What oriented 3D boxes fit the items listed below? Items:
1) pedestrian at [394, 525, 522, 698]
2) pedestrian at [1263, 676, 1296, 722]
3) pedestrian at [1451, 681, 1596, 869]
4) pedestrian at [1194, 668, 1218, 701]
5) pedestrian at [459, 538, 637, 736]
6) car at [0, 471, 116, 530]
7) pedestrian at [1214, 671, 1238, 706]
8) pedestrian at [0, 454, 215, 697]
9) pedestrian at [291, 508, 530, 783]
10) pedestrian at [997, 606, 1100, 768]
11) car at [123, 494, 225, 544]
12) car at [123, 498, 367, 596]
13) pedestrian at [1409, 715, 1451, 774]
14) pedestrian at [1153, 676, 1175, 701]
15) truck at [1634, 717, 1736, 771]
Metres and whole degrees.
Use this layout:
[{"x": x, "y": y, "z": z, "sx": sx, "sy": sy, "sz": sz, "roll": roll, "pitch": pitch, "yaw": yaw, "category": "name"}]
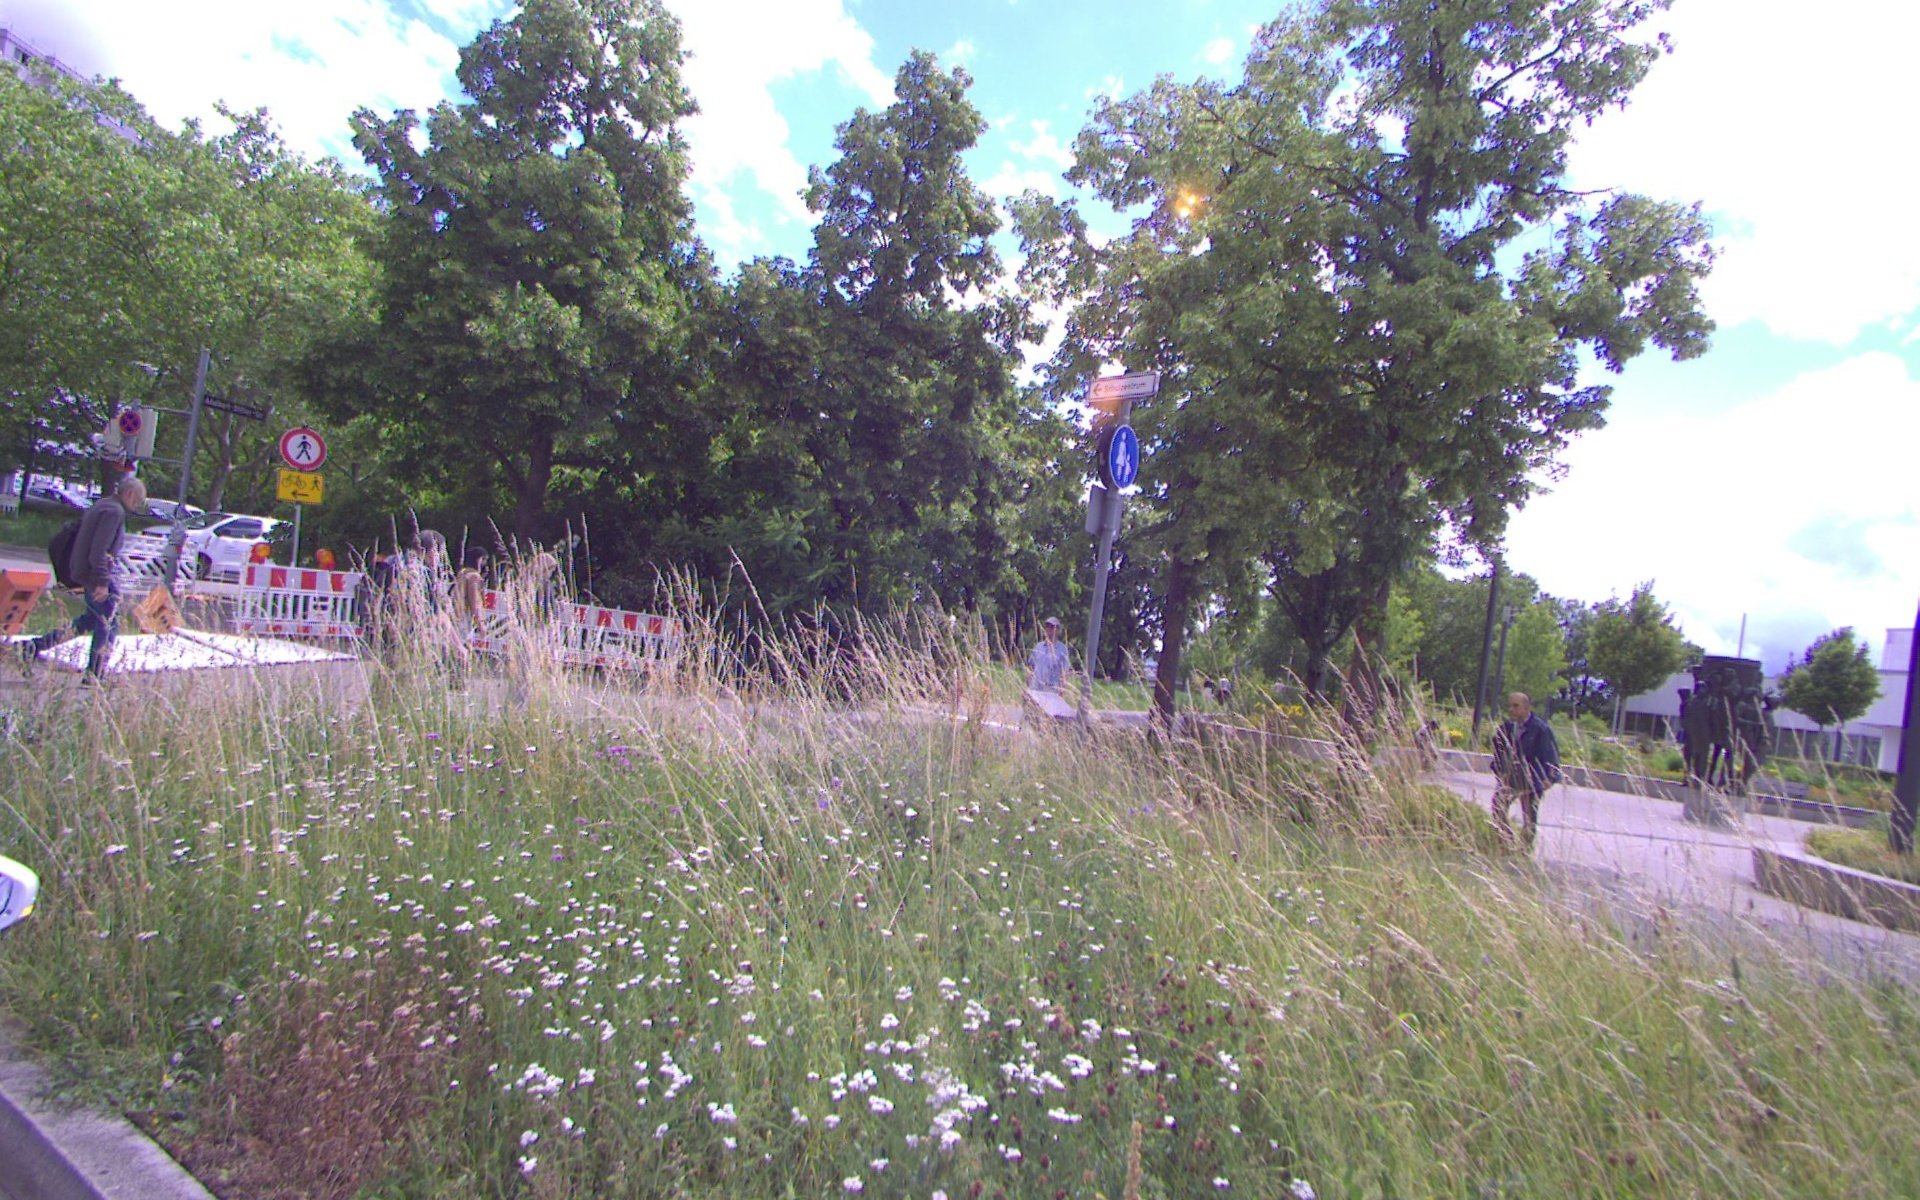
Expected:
[{"x": -5.545, "y": 0.136, "z": 11.129, "sx": 0.815, "sy": 1.763, "sz": 0.782, "roll": 7, "pitch": 0, "yaw": 34, "category": "pedestrian"}, {"x": 15.318, "y": 4.759, "z": 48.257, "sx": 1.137, "sy": 2.037, "sz": 0.817, "roll": 8, "pitch": 0, "yaw": 30, "category": "pedestrian"}, {"x": 5.452, "y": 1.681, "z": 9.755, "sx": 0.756, "sy": 1.644, "sz": 0.767, "roll": 8, "pitch": -1, "yaw": -28, "category": "pedestrian"}, {"x": 13.475, "y": 4.604, "z": 55.010, "sx": 0.872, "sy": 1.681, "sz": 0.817, "roll": 8, "pitch": -1, "yaw": 30, "category": "pedestrian"}, {"x": -3.817, "y": 0.353, "z": 9.346, "sx": 0.915, "sy": 1.667, "sz": 1.021, "roll": 7, "pitch": -1, "yaw": 36, "category": "pedestrian"}, {"x": -43.690, "y": -4.778, "z": 48.569, "sx": 3.926, "sy": 2.037, "sz": 2.001, "roll": 8, "pitch": -1, "yaw": 0, "category": "car"}, {"x": 14.457, "y": 4.796, "z": 54.617, "sx": 0.879, "sy": 1.732, "sz": 0.817, "roll": 8, "pitch": -1, "yaw": 30, "category": "pedestrian"}, {"x": -6.965, "y": -0.175, "z": 8.198, "sx": 0.914, "sy": 1.794, "sz": 1.004, "roll": 7, "pitch": -1, "yaw": 32, "category": "pedestrian"}, {"x": -3.728, "y": 0.308, "z": 6.865, "sx": 0.866, "sy": 1.667, "sz": 0.960, "roll": 7, "pitch": -1, "yaw": 32, "category": "pedestrian"}, {"x": 1.097, "y": 1.068, "z": 12.387, "sx": 0.760, "sy": 1.862, "sz": 0.763, "roll": 7, "pitch": -1, "yaw": 35, "category": "pedestrian"}, {"x": -44.239, "y": -4.530, "z": 56.688, "sx": 3.926, "sy": 2.037, "sz": 2.001, "roll": 8, "pitch": -1, "yaw": 0, "category": "car"}, {"x": -19.710, "y": -1.387, "z": 28.053, "sx": 1.915, "sy": 1.895, "sz": 5.090, "roll": 7, "pitch": -2, "yaw": 28, "category": "car"}, {"x": 10.810, "y": 3.308, "z": 23.137, "sx": 0.623, "sy": 1.236, "sz": 0.618, "roll": 7, "pitch": -1, "yaw": 36, "category": "pedestrian"}, {"x": 14.286, "y": 6.167, "z": 70.473, "sx": 1.135, "sy": 1.571, "sz": 0.818, "roll": 8, "pitch": -1, "yaw": -2, "category": "pedestrian"}, {"x": 37.323, "y": 7.387, "z": 51.932, "sx": 1.965, "sy": 2.037, "sz": 3.999, "roll": 8, "pitch": -1, "yaw": -4, "category": "truck"}]
